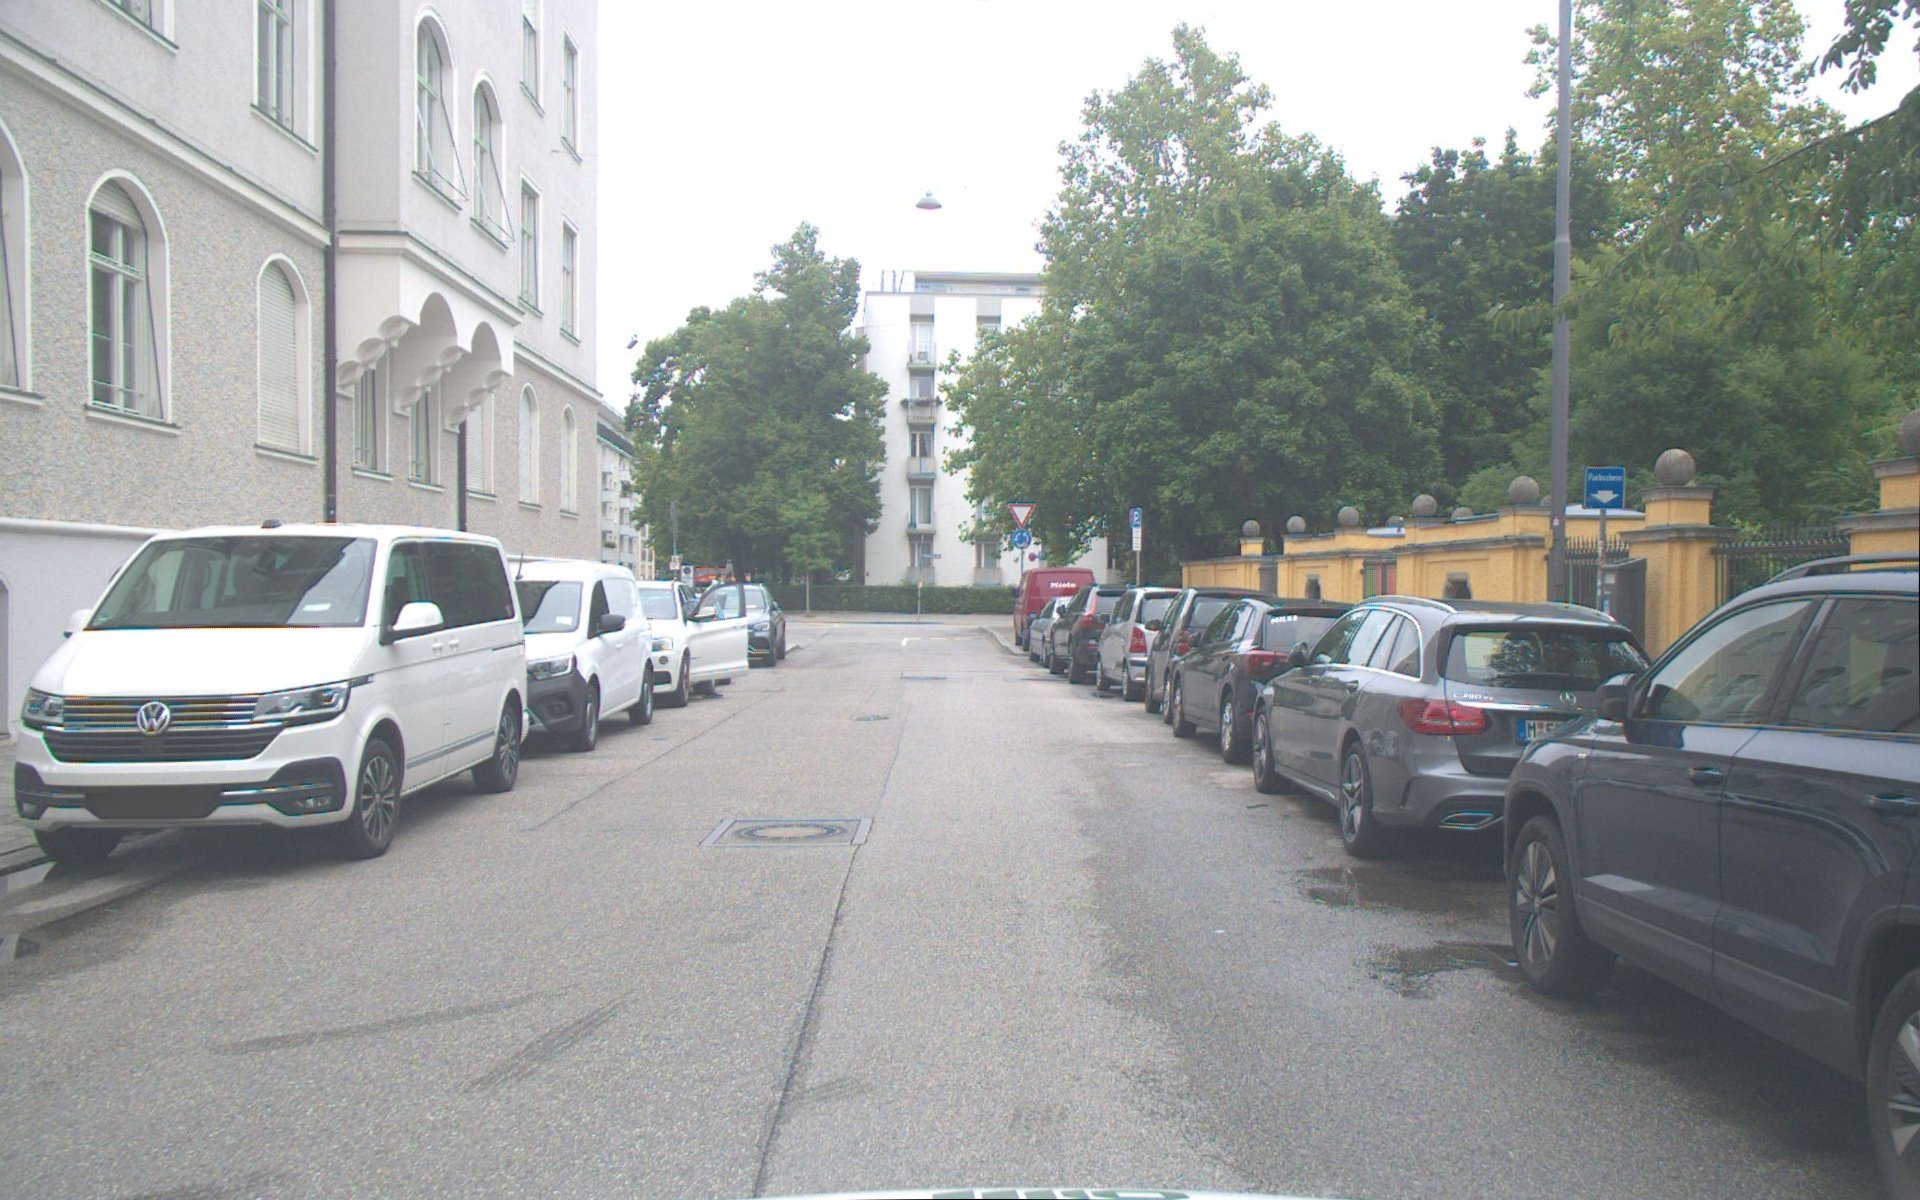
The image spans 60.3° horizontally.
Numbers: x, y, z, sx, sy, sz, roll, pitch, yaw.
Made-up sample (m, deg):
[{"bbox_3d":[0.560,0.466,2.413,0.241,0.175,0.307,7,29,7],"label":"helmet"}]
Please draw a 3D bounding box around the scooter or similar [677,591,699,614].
[{"bbox_3d":[-13.134,0.109,79.792,0.989,1.107,0.386,1,0,-33],"label":"scooter or similar"}]

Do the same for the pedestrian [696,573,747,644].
[{"bbox_3d":[-6.126,0.221,42.493,1.039,1.802,0.866,0,0,-34],"label":"pedestrian"}]

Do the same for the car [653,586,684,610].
[{"bbox_3d":[-19.132,-0.171,108.617,1.801,1.531,4.108,-1,1,-8],"label":"car"}]

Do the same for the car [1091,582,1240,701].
[{"bbox_3d":[2.932,0.546,24.282,1.455,1.566,3.690,2,0,-4],"label":"car"}]

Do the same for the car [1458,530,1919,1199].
[{"bbox_3d":[3.084,0.625,5.024,1.678,1.598,4.690,0,0,-1],"label":"car"}]

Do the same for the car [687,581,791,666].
[{"bbox_3d":[-4.565,0.442,34.730,1.711,1.630,4.494,-1,0,-2],"label":"car"}]

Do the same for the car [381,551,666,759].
[{"bbox_3d":[-4.315,0.468,17.181,1.711,1.819,5.035,-1,0,-1],"label":"car"}]

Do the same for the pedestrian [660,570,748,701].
[{"bbox_3d":[-3.594,0.481,23.178,0.951,1.786,0.867,0,0,-31],"label":"pedestrian"}]

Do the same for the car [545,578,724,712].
[{"bbox_3d":[-4.377,0.544,22.877,1.711,1.630,4.494,-1,0,-2],"label":"car"}]

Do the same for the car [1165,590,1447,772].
[{"bbox_3d":[3.123,0.661,15.743,1.658,1.439,4.035,2,0,-2],"label":"car"}]

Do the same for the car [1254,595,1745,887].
[{"bbox_3d":[3.109,0.699,10.554,1.657,1.439,4.515,0,0,0],"label":"car"}]

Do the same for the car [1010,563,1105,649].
[{"bbox_3d":[2.352,0.127,40.980,1.836,1.954,4.886,2,0,-2],"label":"car"}]

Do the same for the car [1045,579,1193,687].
[{"bbox_3d":[2.692,0.515,29.159,1.847,1.682,4.821,2,0,-3],"label":"car"}]

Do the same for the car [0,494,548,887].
[{"bbox_3d":[-4.208,0.442,10.906,1.818,1.972,4.956,-1,0,-1],"label":"car"}]

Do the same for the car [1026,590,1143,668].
[{"bbox_3d":[2.580,0.568,35.255,1.847,1.474,4.365,2,0,-4],"label":"car"}]

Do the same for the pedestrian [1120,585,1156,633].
[{"bbox_3d":[5.165,0.251,48.103,0.988,1.361,0.877,0,0,2],"label":"pedestrian"}]

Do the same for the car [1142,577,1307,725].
[{"bbox_3d":[3.103,0.564,19.856,1.477,1.593,2.869,2,0,0],"label":"car"}]

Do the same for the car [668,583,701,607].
[{"bbox_3d":[-19.811,-0.399,119.033,1.798,1.663,3.818,-1,1,-2],"label":"car"}]
